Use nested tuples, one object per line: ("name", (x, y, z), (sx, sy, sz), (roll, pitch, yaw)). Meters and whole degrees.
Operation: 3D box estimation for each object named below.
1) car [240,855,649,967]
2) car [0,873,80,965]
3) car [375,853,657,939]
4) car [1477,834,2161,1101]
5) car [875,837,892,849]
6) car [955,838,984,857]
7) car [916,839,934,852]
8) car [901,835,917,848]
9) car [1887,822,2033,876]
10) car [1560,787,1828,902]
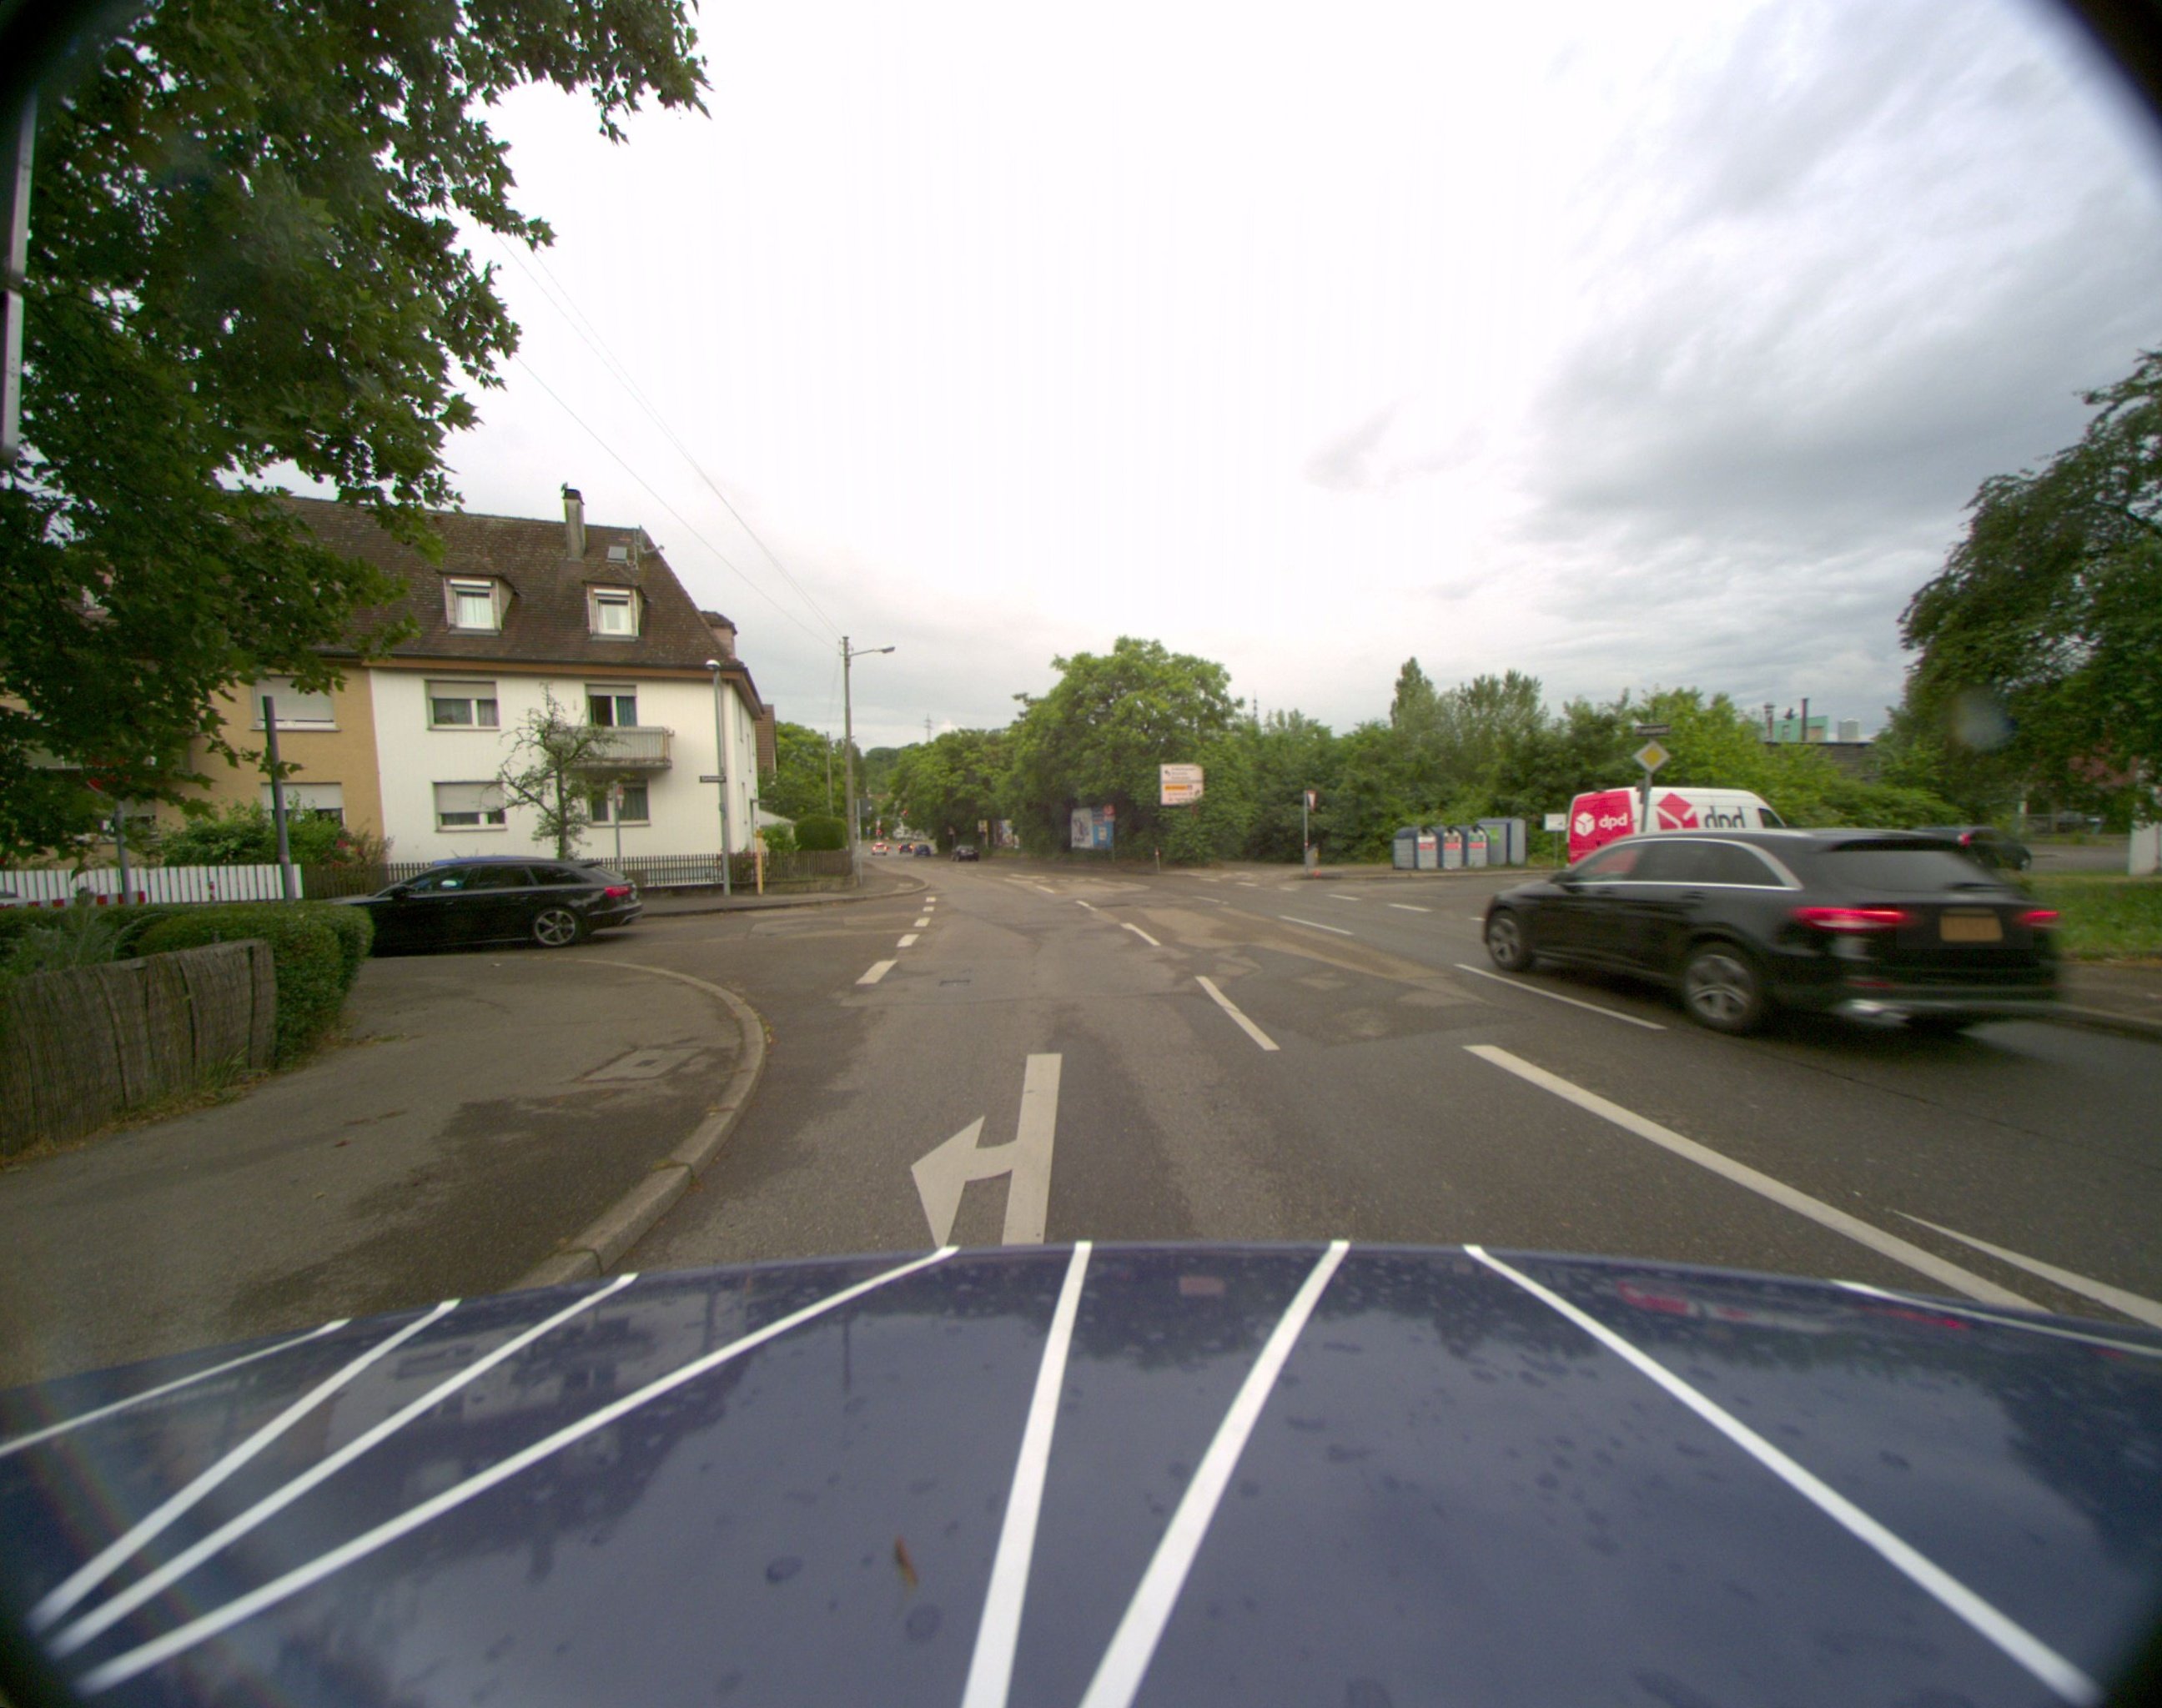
("car", (-10.059, 0.813, 12.602), (4.824, 1.472, 1.882), (-1, 1, -24))
("car", (-19.476, 1.122, 12.147), (3.788, 1.445, 1.769), (-2, 1, -20))
("car", (-11.127, 0.761, 15.341), (4.130, 1.472, 1.883), (-1, 1, -17))
("car", (5.833, 0.682, 6.996), (1.920, 1.617, 4.433), (-2, 1, -2))
("car", (-27.359, -1.541, 104.950), (1.838, 1.570, 4.325), (-3, 2, -20))
("car", (-9.644, -0.537, 65.269), (1.849, 1.560, 4.406), (-2, 1, -16))
("car", (-18.316, -1.025, 89.107), (1.604, 1.418, 3.689), (-1, 3, -20))
("car", (-25.626, -1.896, 112.875), (1.965, 1.920, 4.675), (-2, 1, -17))
("car", (30.138, -0.211, 26.064), (4.257, 1.620, 1.996), (-3, 2, -22))
("car", (16.160, -0.352, 20.019), (6.829, 2.641, 2.258), (-2, 2, -20))
